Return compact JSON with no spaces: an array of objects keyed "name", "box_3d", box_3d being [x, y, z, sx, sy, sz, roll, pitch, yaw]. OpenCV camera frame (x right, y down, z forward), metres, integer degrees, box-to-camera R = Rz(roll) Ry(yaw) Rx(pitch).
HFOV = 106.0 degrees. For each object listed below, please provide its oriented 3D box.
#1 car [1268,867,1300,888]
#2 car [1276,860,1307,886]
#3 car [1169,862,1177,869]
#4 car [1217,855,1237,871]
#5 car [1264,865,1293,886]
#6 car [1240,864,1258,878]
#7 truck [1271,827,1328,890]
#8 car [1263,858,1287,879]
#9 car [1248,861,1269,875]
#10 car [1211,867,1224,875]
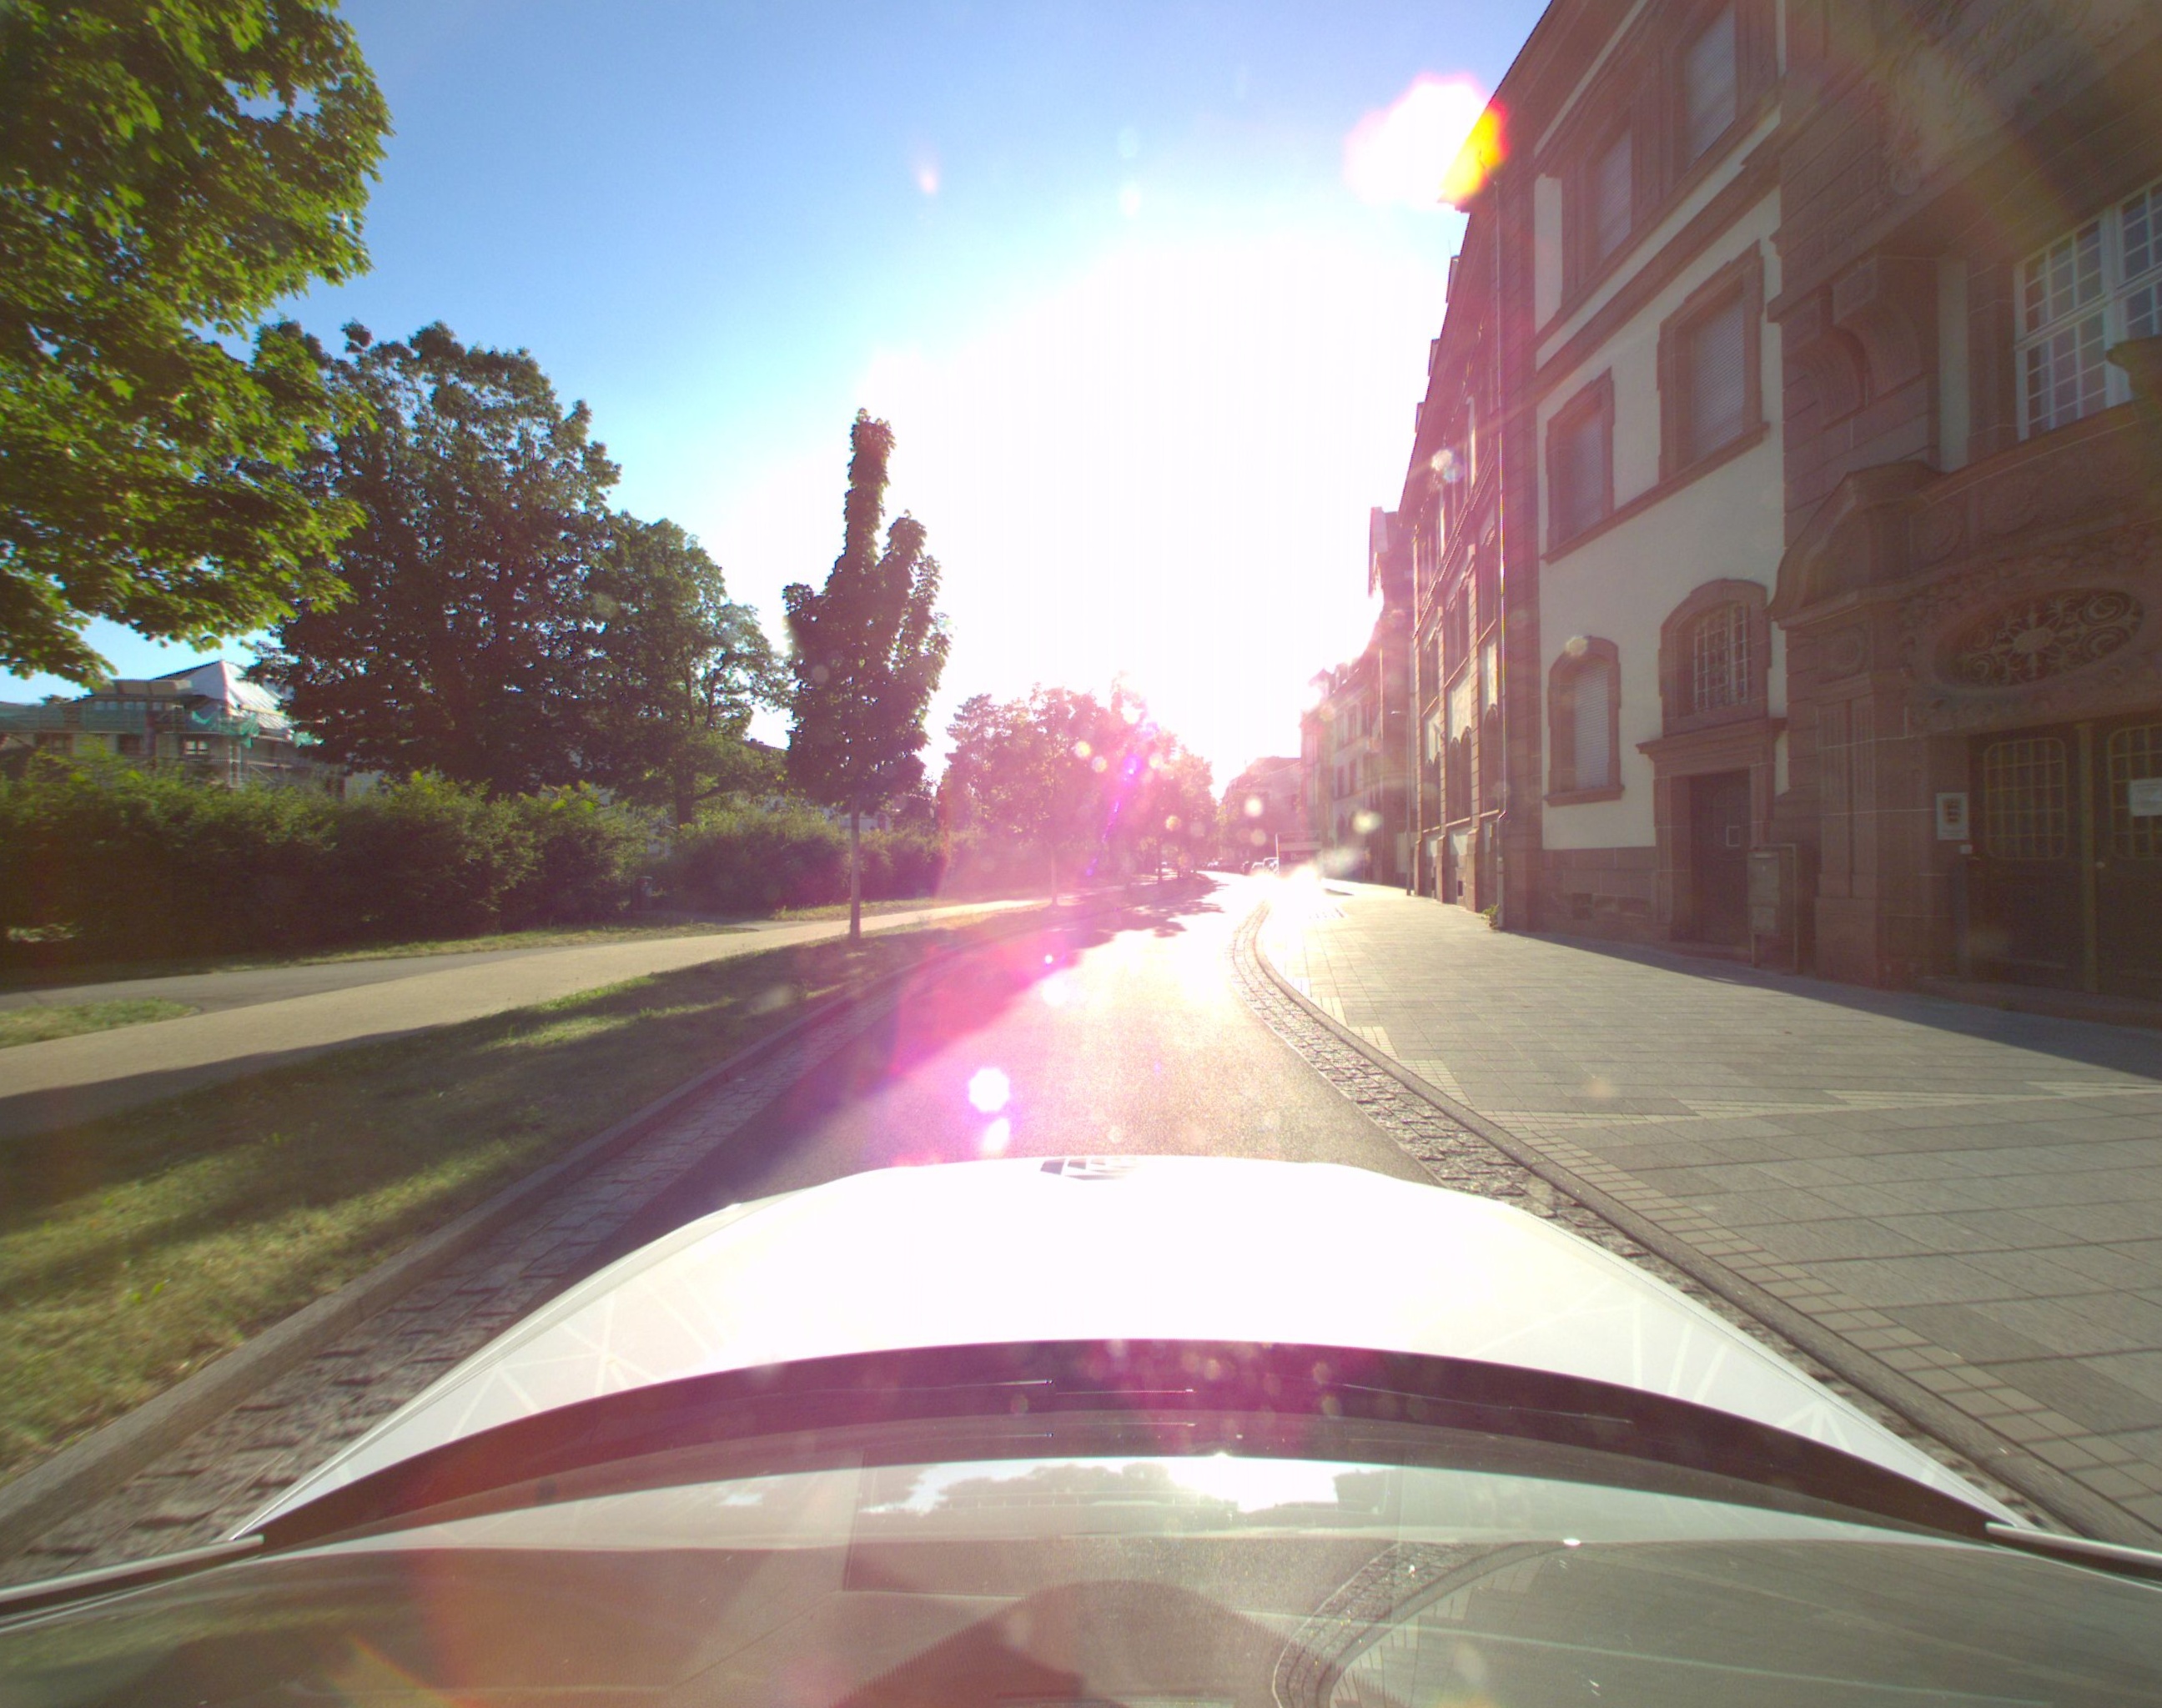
[{"name":"car","box_3d":[14.951,1.720,60.157,1.860,1.436,4.534,-2,-1,9]},{"name":"car","box_3d":[13.240,1.161,51.258,1.756,1.531,4.589,-2,-1,14]},{"name":"car","box_3d":[25.004,3.114,221.849,1.786,1.724,4.002,0,-1,3]},{"name":"car","box_3d":[23.674,1.494,132.145,2.202,2.530,6.151,-2,-1,3]},{"name":"car","box_3d":[15.821,1.688,65.367,1.805,1.602,4.202,-2,-1,9]},{"name":"car","box_3d":[21.309,2.129,103.283,1.716,1.669,4.119,-2,-1,5]},{"name":"truck","box_3d":[12.097,0.272,45.473,2.606,3.121,6.107,-3,-1,12]},{"name":"car","box_3d":[19.248,1.439,80.982,1.981,1.966,4.863,-4,-2,11]},{"name":"car","box_3d":[20.195,1.579,92.865,1.739,1.466,4.484,0,-1,5]},{"name":"car","box_3d":[24.027,2.958,143.538,1.685,1.440,3.551,-1,-1,1]}]
